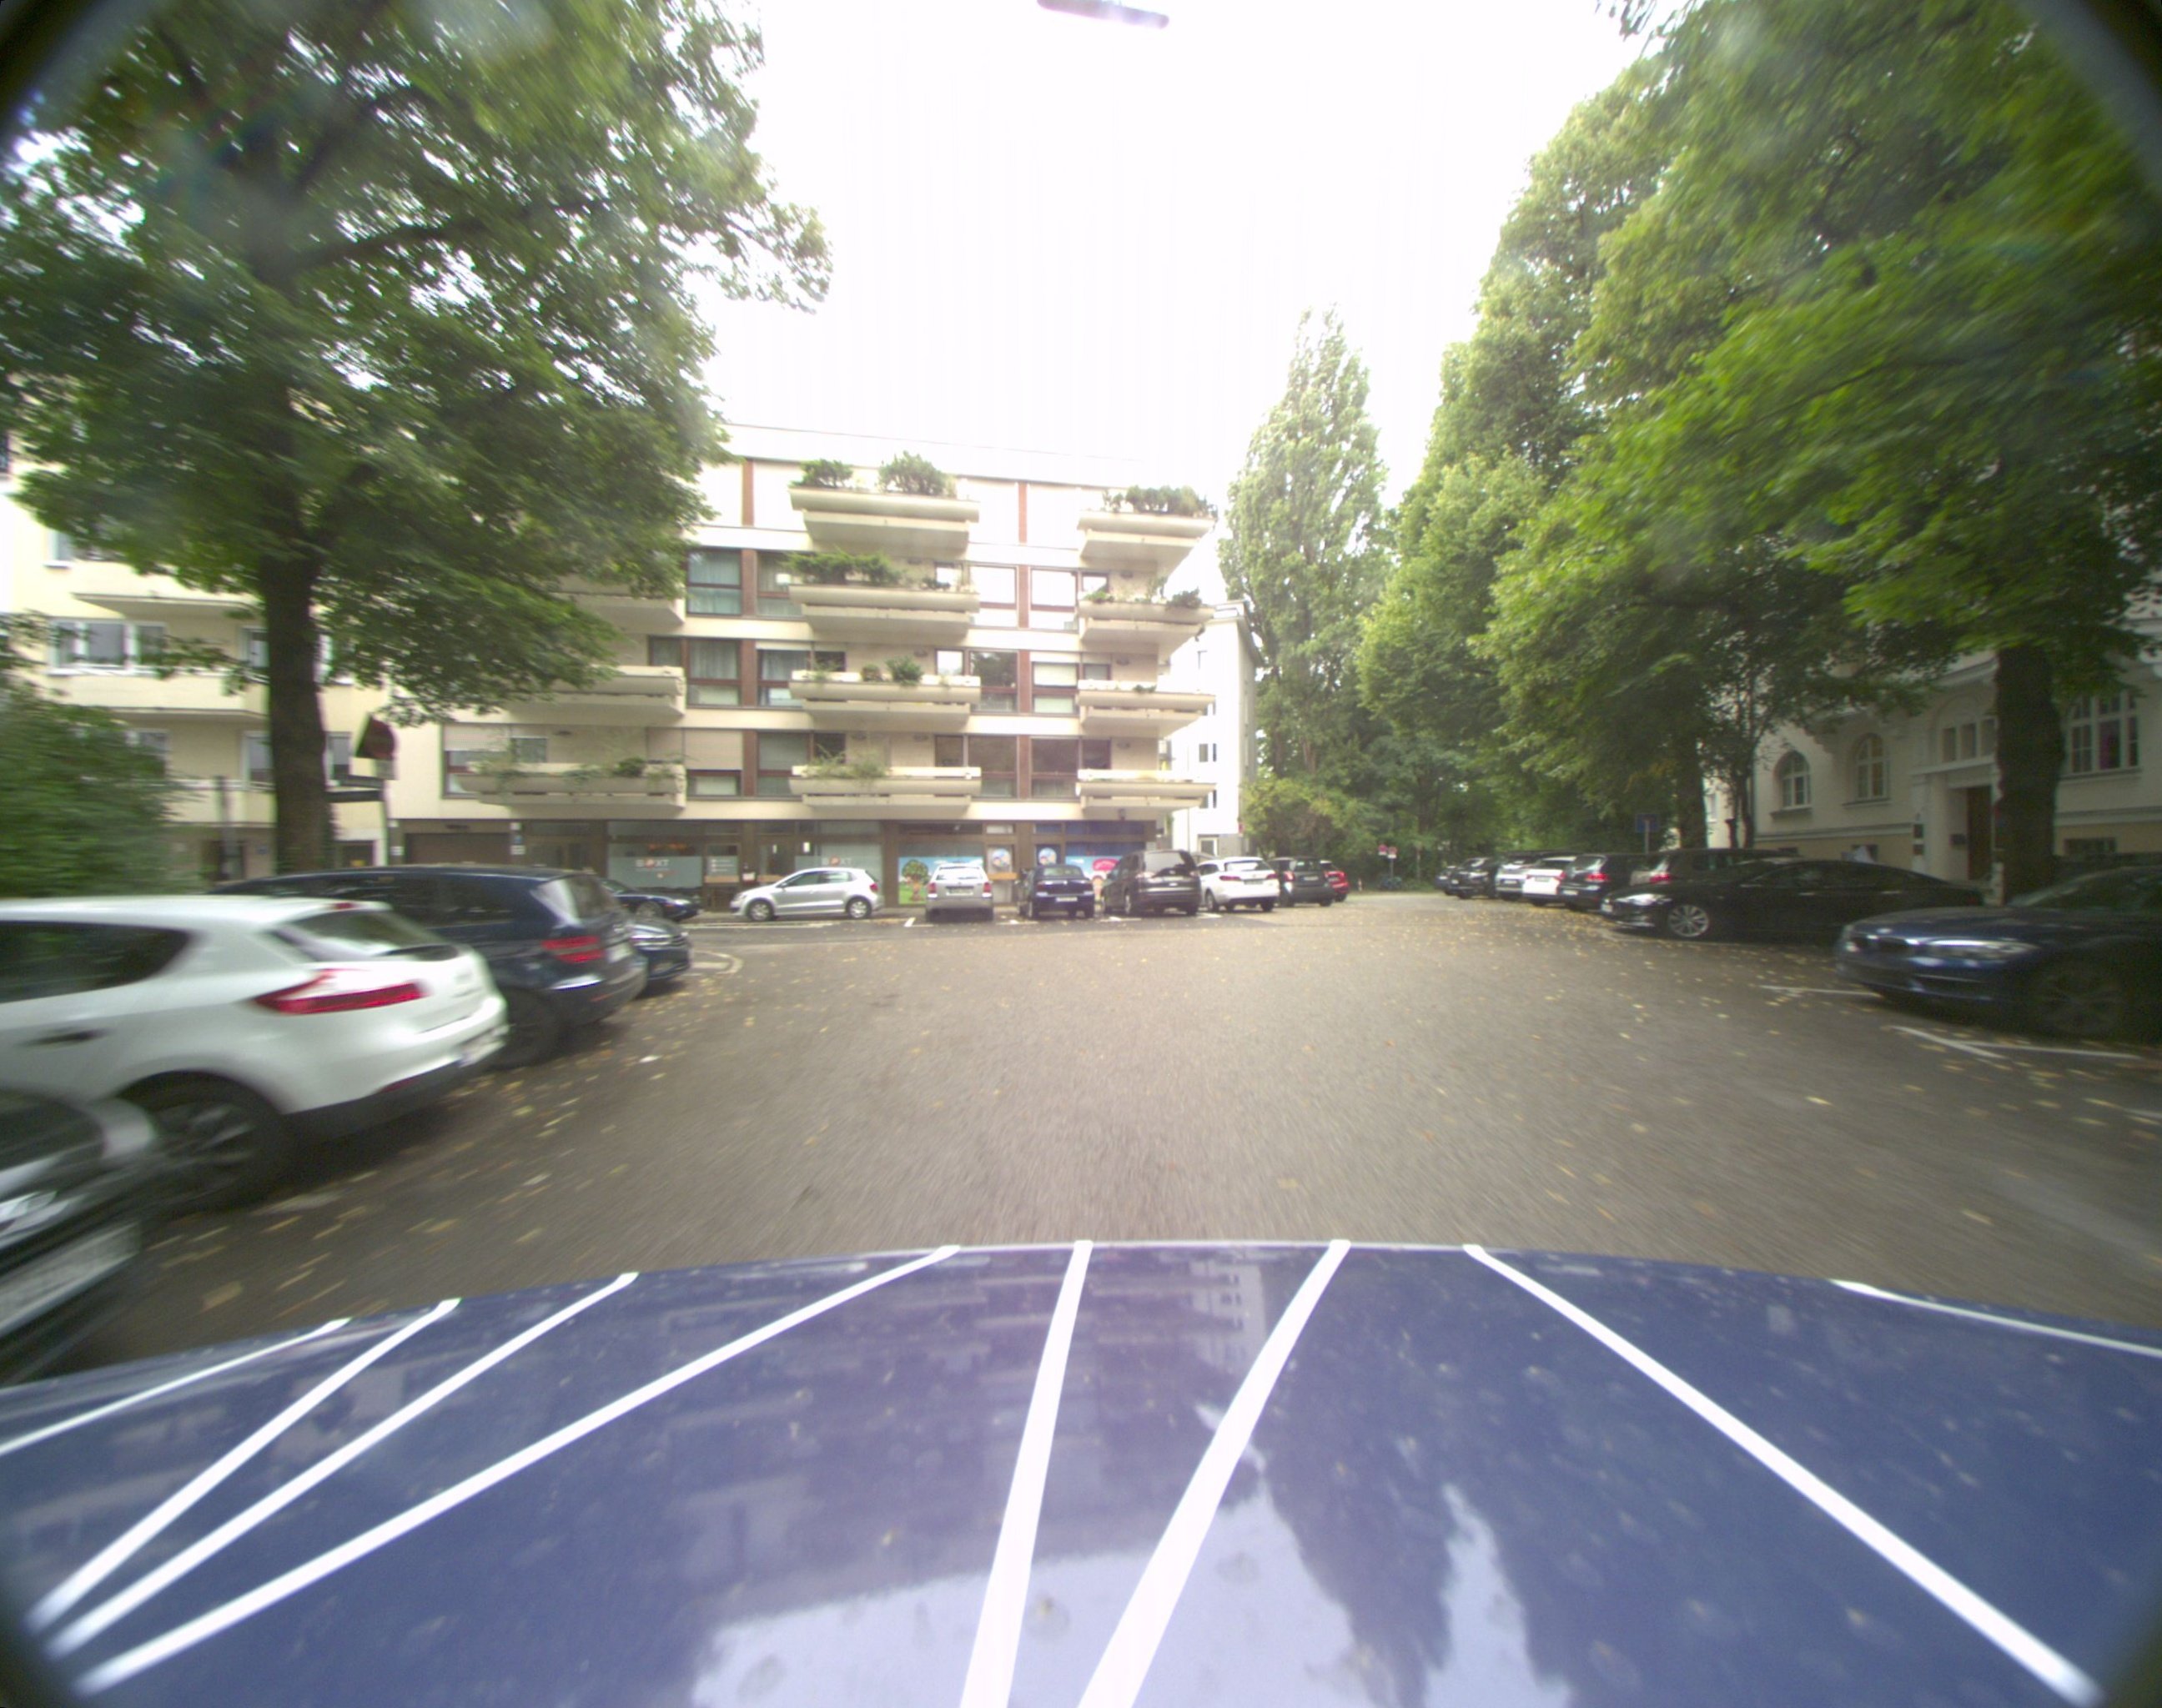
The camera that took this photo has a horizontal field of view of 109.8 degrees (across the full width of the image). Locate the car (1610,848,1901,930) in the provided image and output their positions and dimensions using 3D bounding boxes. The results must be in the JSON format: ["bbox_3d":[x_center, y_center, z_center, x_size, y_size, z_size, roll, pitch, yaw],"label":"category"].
[{"bbox_3d":[13.359,0.666,15.326,4.018,1.521,1.846,-1,1,11],"label":"car"}]

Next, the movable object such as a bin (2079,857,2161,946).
[{"bbox_3d":[16.839,0.729,11.854,1.370,1.340,0.716,-1,1,16],"label":"movable object such as a bin"}]

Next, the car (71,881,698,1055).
[{"bbox_3d":[-7.055,1.069,8.490,4.738,1.369,1.956,-1,0,-21],"label":"car"}]

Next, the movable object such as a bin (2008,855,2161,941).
[{"bbox_3d":[16.777,0.717,12.706,1.154,1.341,1.154,-1,1,15],"label":"movable object such as a bin"}]

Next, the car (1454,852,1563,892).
[{"bbox_3d":[17.491,0.702,31.107,4.004,1.469,1.721,-1,1,-20],"label":"car"}]

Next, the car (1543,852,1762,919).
[{"bbox_3d":[13.578,0.710,18.182,3.998,1.423,1.796,-1,1,-4],"label":"car"}]

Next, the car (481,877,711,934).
[{"bbox_3d":[-12.280,1.285,19.548,4.618,1.270,1.801,-1,-2,-12],"label":"car"}]

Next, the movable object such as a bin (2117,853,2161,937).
[{"bbox_3d":[17.992,0.660,12.344,0.862,1.341,1.122,-1,1,15],"label":"movable object such as a bin"}]

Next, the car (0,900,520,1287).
[{"bbox_3d":[-5.410,1.053,3.684,3.952,1.439,1.823,-1,1,-21],"label":"car"}]

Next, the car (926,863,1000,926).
[{"bbox_3d":[-3.222,1.059,20.193,1.721,1.446,4.239,-1,-3,-12],"label":"car"}]

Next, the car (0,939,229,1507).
[{"bbox_3d":[-4.722,1.009,1.252,4.098,1.386,1.732,-1,0,-15],"label":"car"}]

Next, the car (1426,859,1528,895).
[{"bbox_3d":[17.462,0.977,33.527,4.004,1.469,1.721,-1,1,-20],"label":"car"}]

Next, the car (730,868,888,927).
[{"bbox_3d":[-7.258,1.148,20.607,3.834,1.412,1.564,-1,-2,-12],"label":"car"}]

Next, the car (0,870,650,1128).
[{"bbox_3d":[-5.892,0.952,6.017,3.987,1.546,1.753,-1,0,-17],"label":"car"}]

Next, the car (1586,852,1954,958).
[{"bbox_3d":[11.389,0.777,12.975,4.279,1.459,1.711,2,2,19],"label":"car"}]

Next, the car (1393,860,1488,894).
[{"bbox_3d":[16.932,1.052,35.804,4.004,1.469,1.721,-1,1,-20],"label":"car"}]

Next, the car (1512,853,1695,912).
[{"bbox_3d":[14.061,0.729,20.541,4.000,1.423,1.722,-1,1,-9],"label":"car"}]

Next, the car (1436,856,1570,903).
[{"bbox_3d":[14.387,0.816,25.928,4.005,1.393,2.058,-1,1,-26],"label":"car"}]

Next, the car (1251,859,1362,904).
[{"bbox_3d":[7.878,0.907,26.957,1.758,1.390,3.993,-1,0,-20],"label":"car"}]

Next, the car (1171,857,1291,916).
[{"bbox_3d":[4.100,0.926,21.415,1.836,1.470,3.997,-1,-3,-13],"label":"car"}]

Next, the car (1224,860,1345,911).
[{"bbox_3d":[6.343,1.027,24.162,1.837,1.470,3.996,0,-3,-18],"label":"car"}]

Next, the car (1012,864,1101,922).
[{"bbox_3d":[-0.769,1.028,20.569,1.718,1.359,4.069,-1,-2,-12],"label":"car"}]

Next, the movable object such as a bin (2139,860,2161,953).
[{"bbox_3d":[15.896,0.747,10.381,1.429,1.298,0.866,-1,2,15],"label":"movable object such as a bin"}]

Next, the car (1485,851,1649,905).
[{"bbox_3d":[14.827,0.695,23.275,4.000,1.501,1.873,-1,1,-9],"label":"car"}]

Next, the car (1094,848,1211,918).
[{"bbox_3d":[1.814,0.787,20.767,1.903,1.673,4.230,-1,-2,-13],"label":"car"}]

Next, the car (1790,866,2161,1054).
[{"bbox_3d":[9.193,0.826,6.421,4.334,1.375,1.847,0,0,13],"label":"car"}]

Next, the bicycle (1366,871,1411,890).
[{"bbox_3d":[18.158,1.552,44.956,2.464,1.112,0.826,0,1,21],"label":"bicycle"}]
